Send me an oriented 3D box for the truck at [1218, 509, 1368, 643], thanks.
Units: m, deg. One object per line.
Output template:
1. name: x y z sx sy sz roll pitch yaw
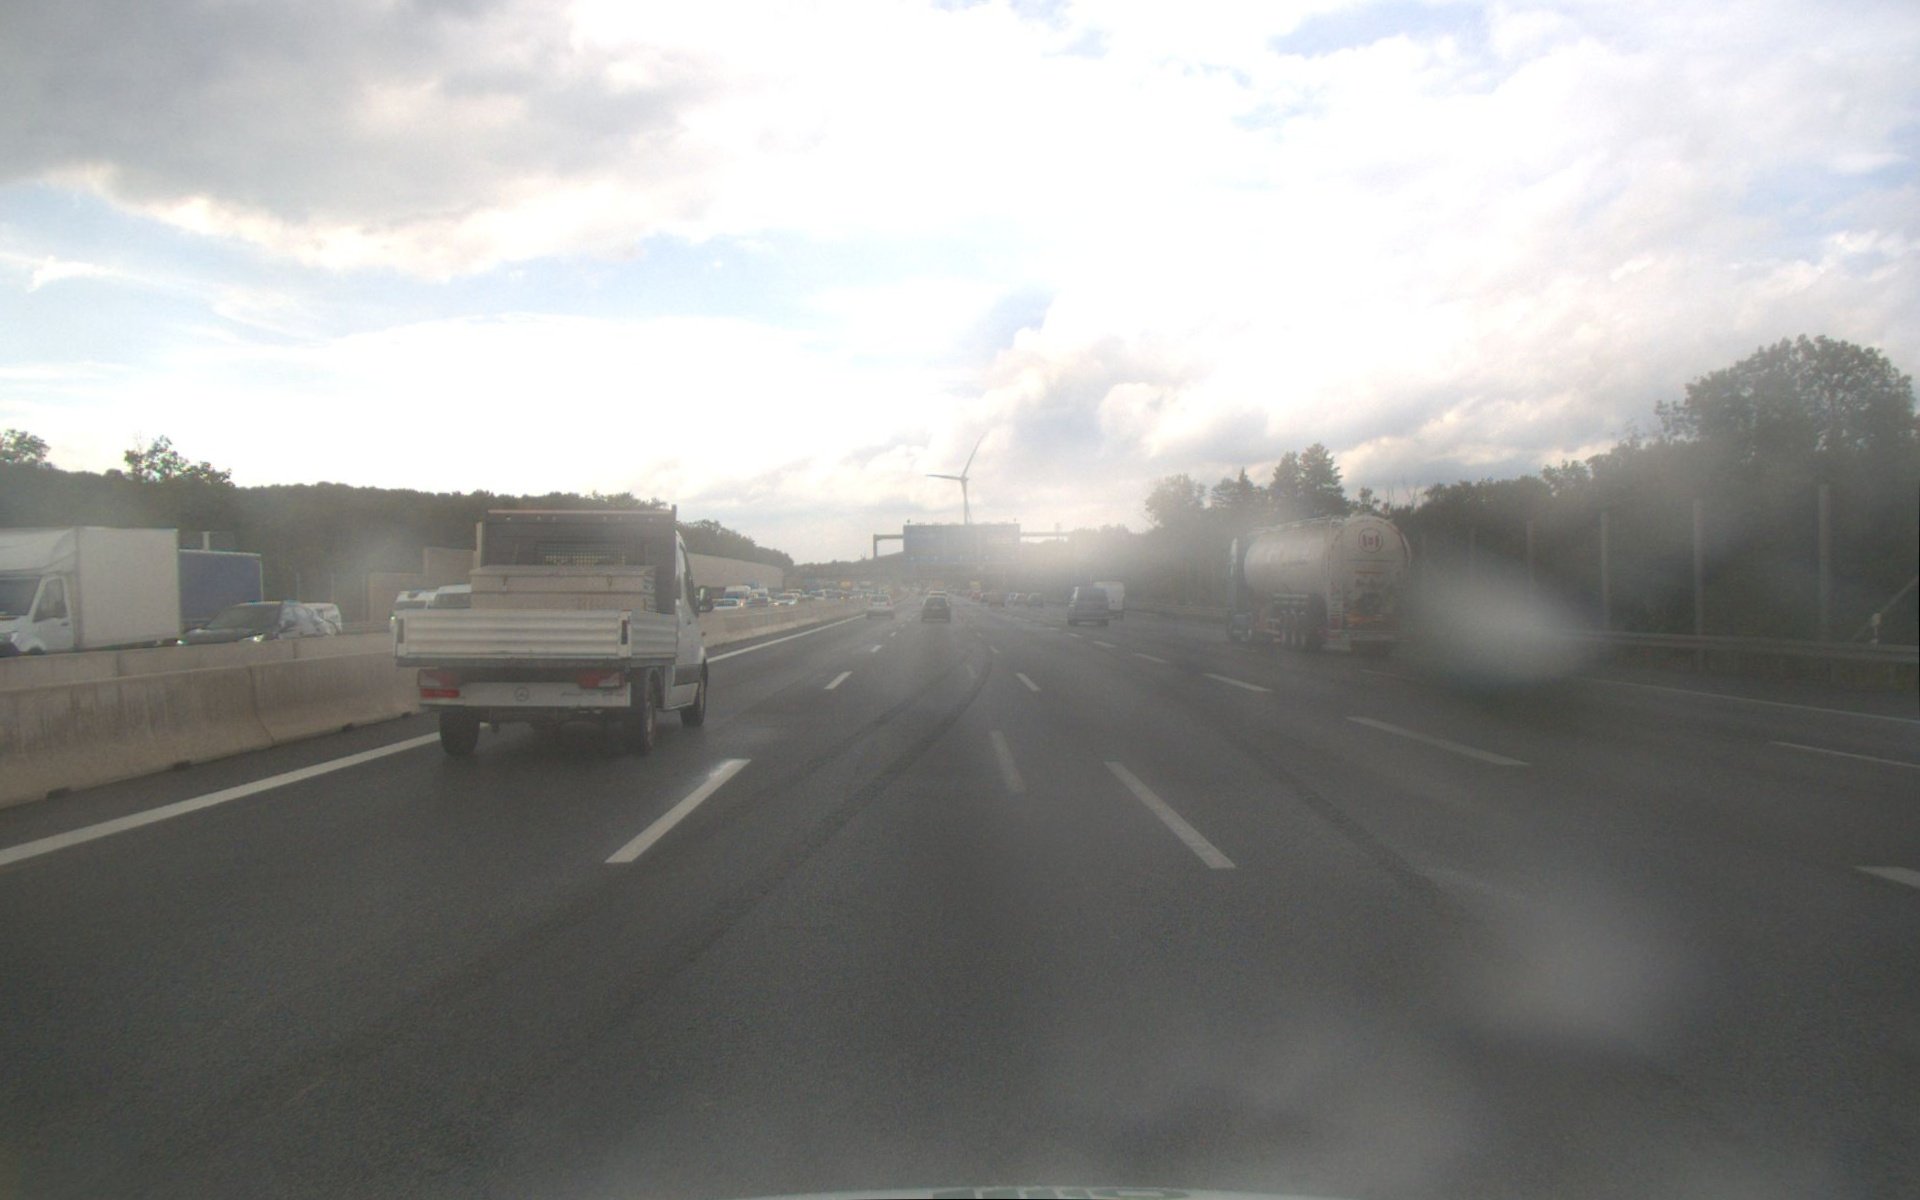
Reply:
1. truck: 11.068 -0.785 55.838 3.265 4.151 8.270 1 0 -1

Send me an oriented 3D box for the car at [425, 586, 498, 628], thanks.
1. car: -22.417 0.298 74.537 1.832 1.829 5.032 0 0 -1

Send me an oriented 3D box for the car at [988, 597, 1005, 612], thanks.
1. car: 4.407 0.579 199.787 2.003 1.729 4.000 0 1 0

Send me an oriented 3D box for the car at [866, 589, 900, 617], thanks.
1. car: -4.834 0.176 104.055 2.003 1.729 3.999 0 1 -1

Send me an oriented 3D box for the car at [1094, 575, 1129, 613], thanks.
1. car: 10.415 -0.441 114.014 2.003 2.541 3.999 0 1 -1

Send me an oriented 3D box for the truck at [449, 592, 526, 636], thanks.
1. truck: -18.840 0.529 66.107 1.953 1.699 3.999 0 0 -1

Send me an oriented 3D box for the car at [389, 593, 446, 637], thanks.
1. car: -30.365 0.841 92.719 1.835 2.408 4.321 0 0 -1

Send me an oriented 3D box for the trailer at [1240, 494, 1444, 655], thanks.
1. trailer: 11.173 -0.728 49.926 3.265 4.248 11.836 1 0 -1

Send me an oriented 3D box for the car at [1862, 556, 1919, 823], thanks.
1. car: 7.262 0.540 8.853 2.004 1.729 5.005 -1 -1 -2

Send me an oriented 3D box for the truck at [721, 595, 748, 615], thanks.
1. truck: -19.312 0.408 141.860 1.954 1.738 4.311 0 0 -3

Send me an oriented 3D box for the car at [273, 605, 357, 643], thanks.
1. car: -25.833 0.930 66.379 1.832 1.442 4.037 0 0 -1

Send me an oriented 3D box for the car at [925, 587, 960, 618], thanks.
1. car: -1.027 0.147 96.198 2.004 1.729 3.999 0 1 -2

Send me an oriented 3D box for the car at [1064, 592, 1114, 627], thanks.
1. car: 6.677 0.477 86.158 2.056 1.729 3.997 0 1 -4

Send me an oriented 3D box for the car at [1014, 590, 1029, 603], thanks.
1. car: 8.442 -0.519 228.093 2.003 1.729 4.000 0 1 0

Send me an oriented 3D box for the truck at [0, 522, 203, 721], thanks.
1. truck: -18.051 0.378 33.423 2.139 3.580 7.490 0 0 -1

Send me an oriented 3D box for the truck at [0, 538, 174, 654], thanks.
1. truck: -29.895 -0.143 55.880 3.074 3.644 7.664 0 0 -1

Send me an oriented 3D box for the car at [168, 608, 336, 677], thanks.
1. car: -13.997 0.813 32.926 1.655 1.256 3.999 0 0 -1

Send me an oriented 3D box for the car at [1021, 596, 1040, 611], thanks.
1. car: 8.225 0.374 194.284 1.953 1.780 4.496 0 0 -1

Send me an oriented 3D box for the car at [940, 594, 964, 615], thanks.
1. car: -0.616 0.366 128.123 1.819 1.574 3.999 0 0 -1

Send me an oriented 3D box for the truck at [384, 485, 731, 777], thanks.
1. truck: -3.911 0.228 17.687 2.306 2.450 7.353 1 1 -3

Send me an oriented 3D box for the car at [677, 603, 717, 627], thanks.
1. car: -14.725 0.824 92.673 1.655 1.256 3.999 0 0 -1

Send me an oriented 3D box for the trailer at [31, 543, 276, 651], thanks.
1. trailer: -29.953 -0.118 62.430 3.074 3.644 12.886 0 0 -1

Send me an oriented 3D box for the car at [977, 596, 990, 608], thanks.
1. car: 3.450 0.280 246.115 1.830 1.758 3.999 0 0 -1
